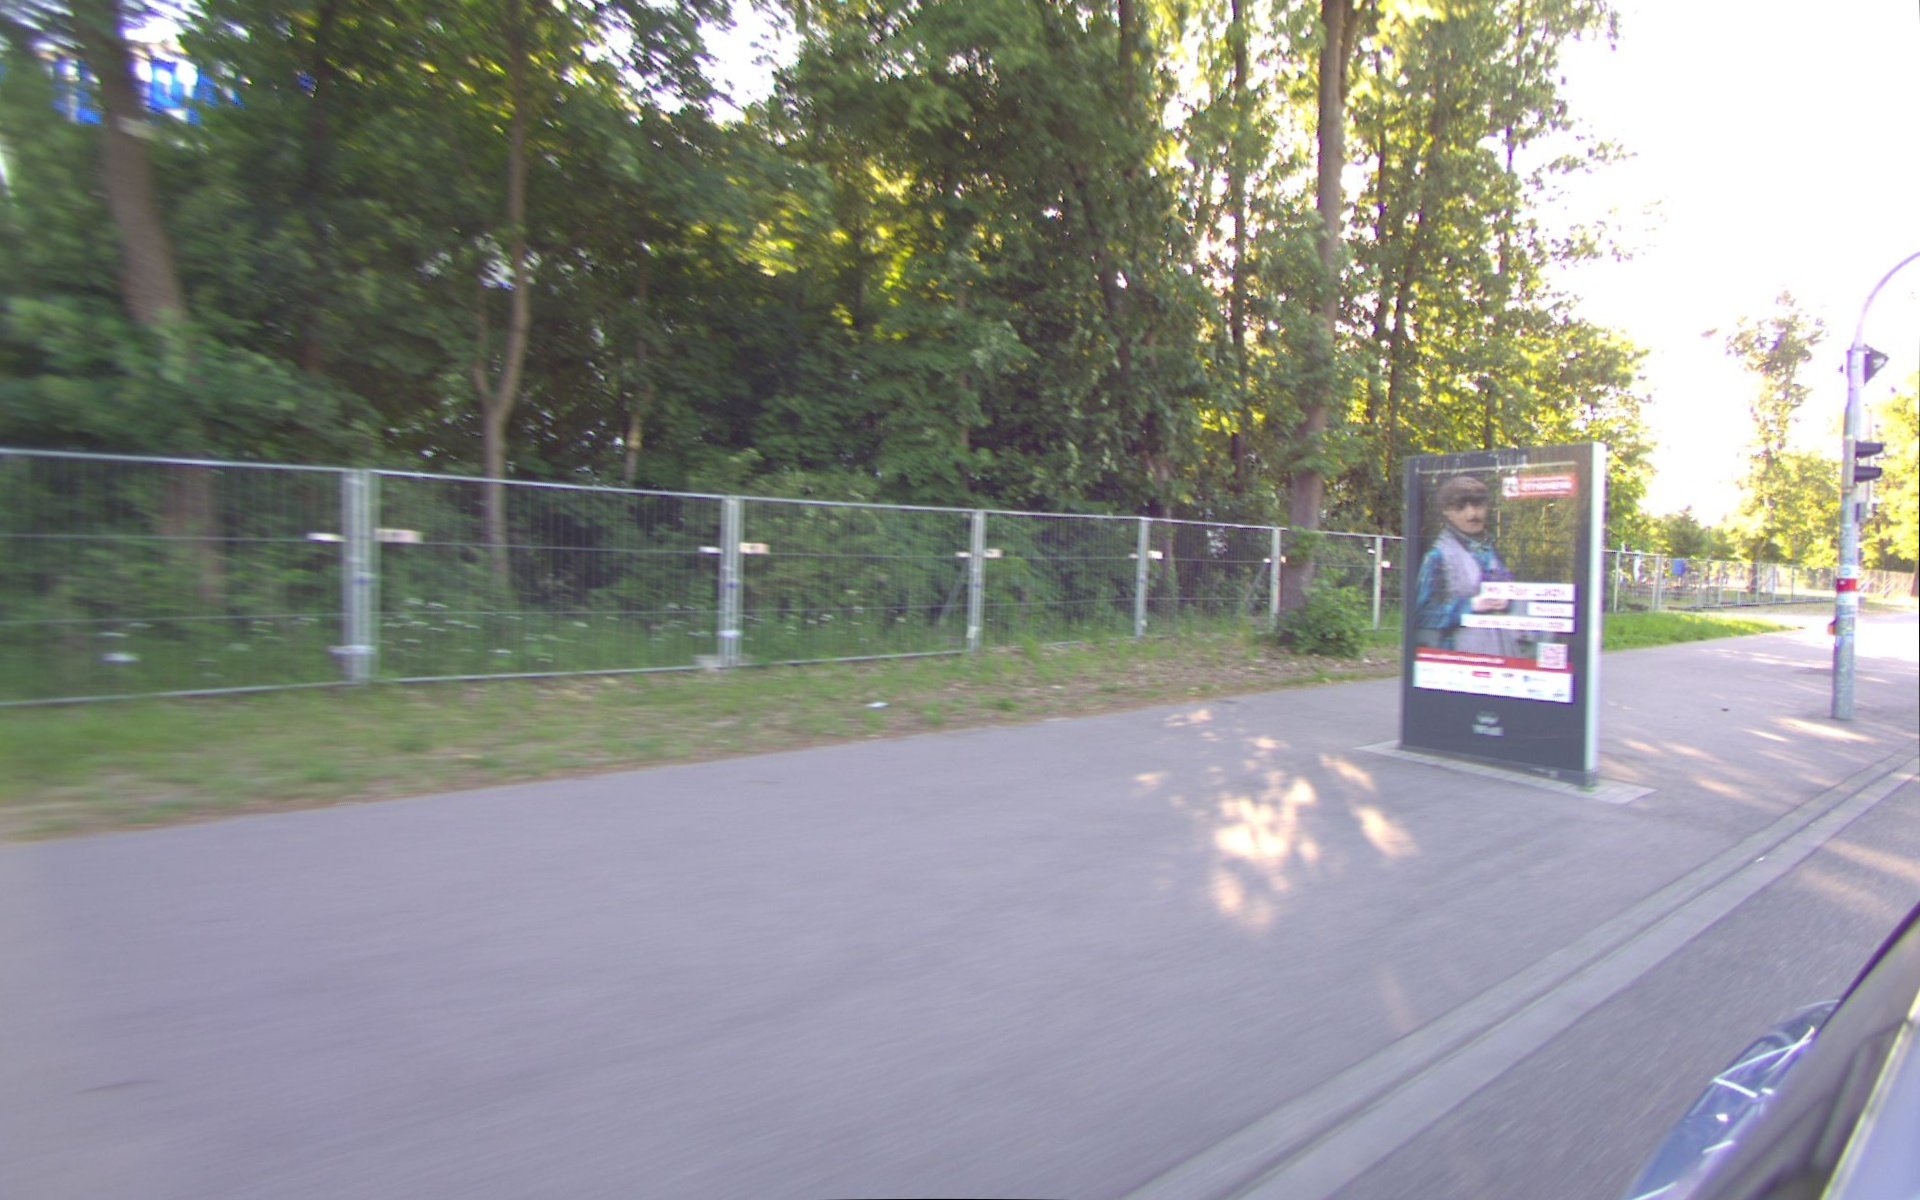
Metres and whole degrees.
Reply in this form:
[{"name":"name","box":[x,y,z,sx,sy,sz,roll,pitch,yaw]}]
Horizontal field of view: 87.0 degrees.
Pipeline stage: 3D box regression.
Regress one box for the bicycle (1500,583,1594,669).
[{"name":"bicycle","box":[8.594,0.350,14.780,1.831,1.151,0.555,-1,3,-40]}]

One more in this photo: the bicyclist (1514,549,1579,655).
[{"name":"bicyclist","box":[8.522,0.011,14.706,0.846,1.487,0.521,-1,3,-40]}]
